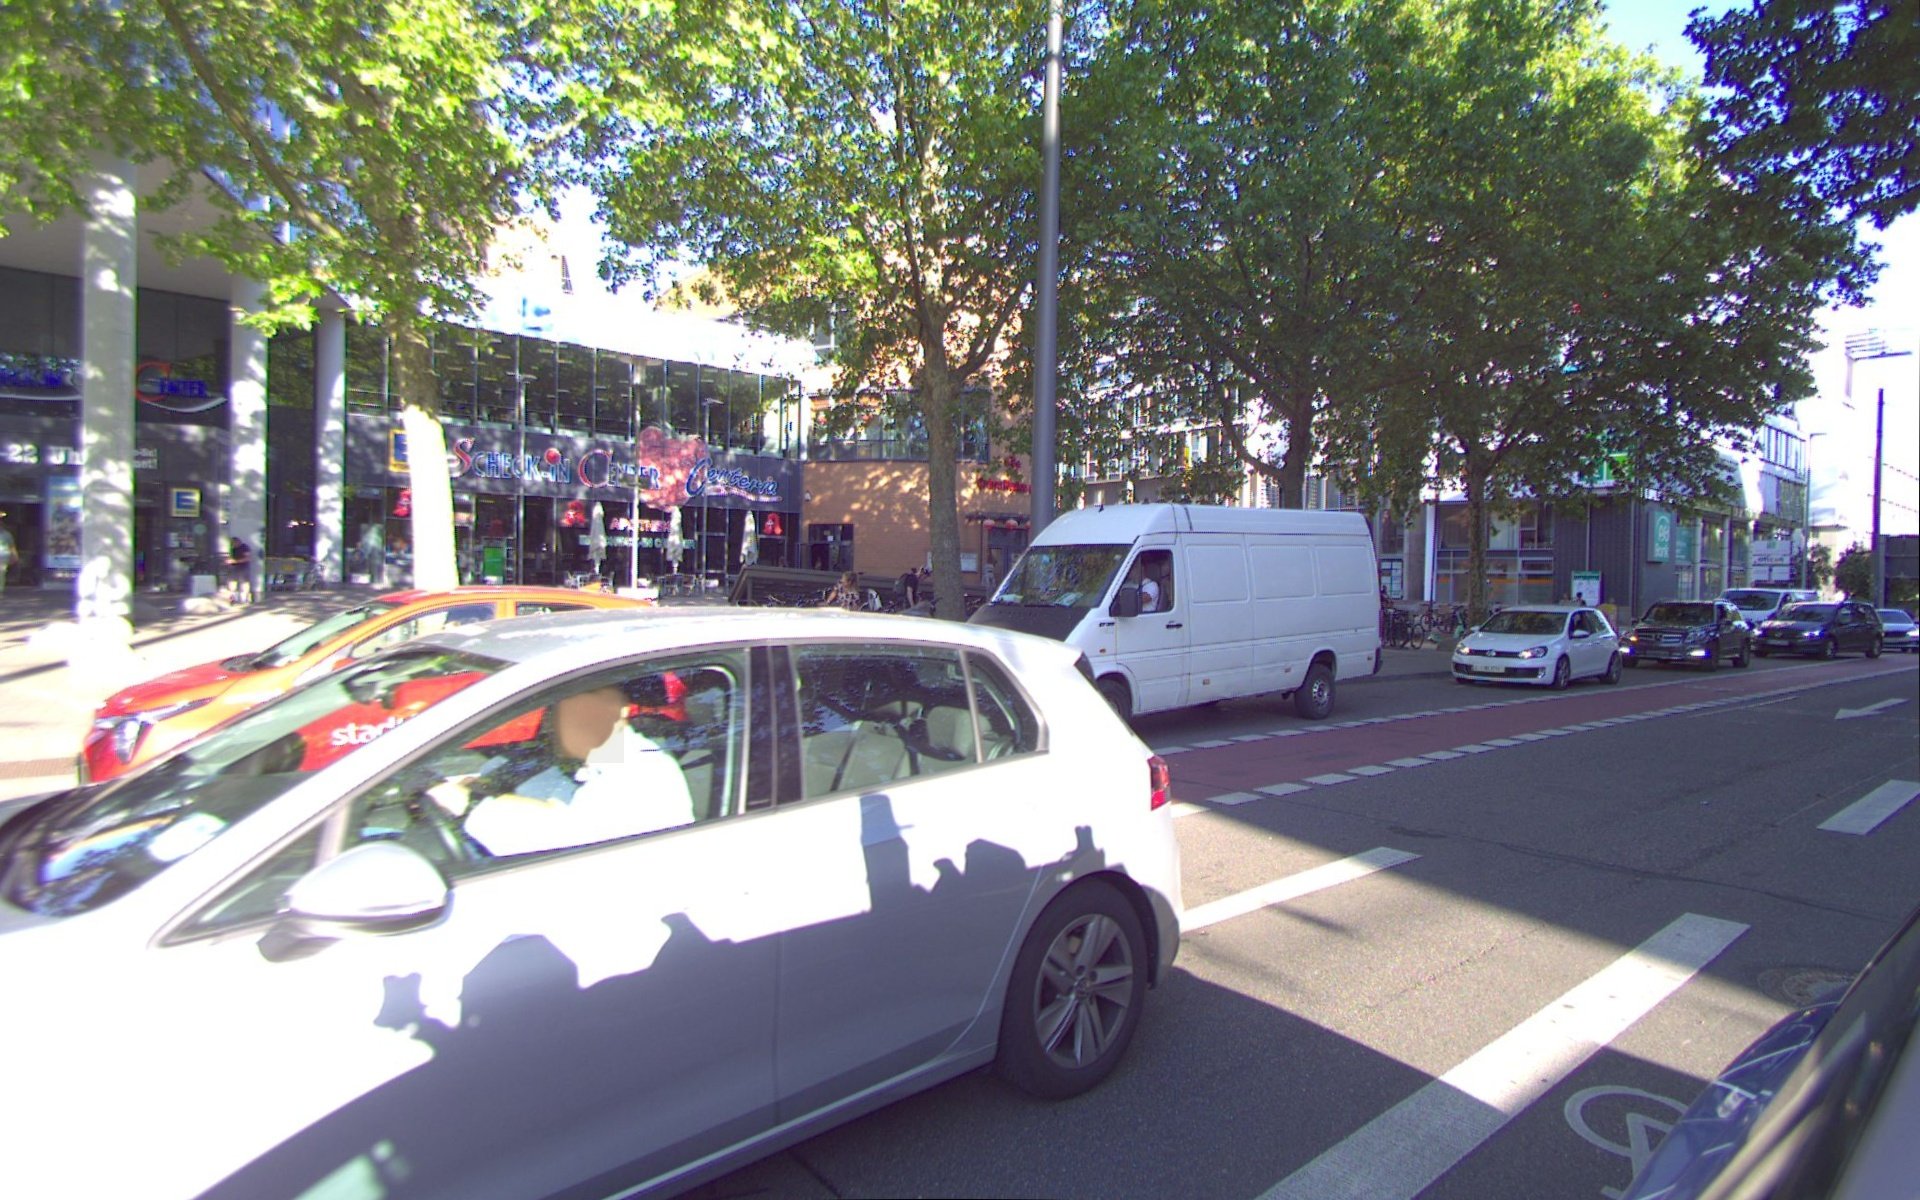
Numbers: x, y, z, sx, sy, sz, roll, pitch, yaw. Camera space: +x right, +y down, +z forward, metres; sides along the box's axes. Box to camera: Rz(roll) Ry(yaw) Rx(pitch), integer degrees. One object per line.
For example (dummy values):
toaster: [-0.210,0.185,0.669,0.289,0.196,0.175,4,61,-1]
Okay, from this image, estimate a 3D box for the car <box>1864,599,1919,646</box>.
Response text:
car: [31.885,0.723,34.321,1.830,1.508,4.132,1,1,42]

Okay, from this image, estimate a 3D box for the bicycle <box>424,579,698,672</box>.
bicycle: [-5.924,0.424,15.312,3.743,1.236,0.729,4,-2,-35]

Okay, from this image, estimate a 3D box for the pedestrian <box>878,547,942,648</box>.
pedestrian: [-1.027,-0.068,21.127,0.922,2.039,1.085,2,1,24]

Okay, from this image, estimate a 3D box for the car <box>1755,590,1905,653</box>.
car: [24.664,0.574,28.672,4.300,1.656,1.714,0,0,-27]

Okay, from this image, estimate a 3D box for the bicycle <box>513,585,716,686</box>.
bicycle: [-4.687,0.436,13.837,2.504,1.236,0.758,-2,1,-35]

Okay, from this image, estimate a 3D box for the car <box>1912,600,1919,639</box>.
car: [38.617,0.734,38.960,4.112,1.508,1.838,0,-1,-32]

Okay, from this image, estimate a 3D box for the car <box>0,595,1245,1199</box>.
car: [-1.151,0.732,2.746,3.927,1.436,1.752,1,0,-39]

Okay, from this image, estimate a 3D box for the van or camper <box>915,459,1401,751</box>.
van or camper: [2.636,0.017,11.991,6.380,2.647,2.005,0,1,-39]

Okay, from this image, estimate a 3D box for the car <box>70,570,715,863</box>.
car: [-3.611,0.576,6.821,3.533,1.478,1.493,0,0,-41]

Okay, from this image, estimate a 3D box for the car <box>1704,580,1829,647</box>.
car: [26.045,0.375,32.606,5.811,1.989,1.933,0,0,-39]

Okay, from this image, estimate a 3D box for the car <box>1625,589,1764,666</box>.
car: [17.330,0.578,23.809,4.175,1.656,1.767,0,0,-41]

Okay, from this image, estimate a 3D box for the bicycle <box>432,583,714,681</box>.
bicycle: [-5.512,0.407,14.700,3.744,1.236,0.758,-2,1,-35]

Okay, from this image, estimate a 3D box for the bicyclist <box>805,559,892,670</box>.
bicyclist: [-1.715,0.202,15.624,1.005,1.641,0.902,0,0,-41]

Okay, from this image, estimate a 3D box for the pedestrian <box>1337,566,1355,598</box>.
pedestrian: [24.926,-1.161,65.342,0.860,2.039,0.796,0,0,-41]

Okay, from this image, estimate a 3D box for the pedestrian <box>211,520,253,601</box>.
pedestrian: [-18.825,-1.003,26.187,0.843,2.039,1.024,0,0,-34]

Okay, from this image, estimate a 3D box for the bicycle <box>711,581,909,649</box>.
bicycle: [-2.547,0.212,17.625,3.352,1.013,1.051,-1,6,-41]

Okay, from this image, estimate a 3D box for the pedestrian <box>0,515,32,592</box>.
pedestrian: [-24.466,-1.188,25.812,0.857,1.912,0.813,1,2,2]

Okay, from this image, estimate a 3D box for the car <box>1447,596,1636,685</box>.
car: [10.596,0.659,18.345,3.914,1.446,1.639,0,0,-38]

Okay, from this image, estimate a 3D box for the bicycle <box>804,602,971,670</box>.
bicycle: [-1.105,0.524,15.959,2.591,0.960,0.924,-1,0,-41]

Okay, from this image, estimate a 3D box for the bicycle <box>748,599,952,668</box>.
bicycle: [-1.750,0.500,16.744,3.352,1.014,1.050,-1,0,-41]

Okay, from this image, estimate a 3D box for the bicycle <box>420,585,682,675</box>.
bicycle: [-6.344,0.416,15.967,3.746,1.236,0.793,-2,1,-37]
